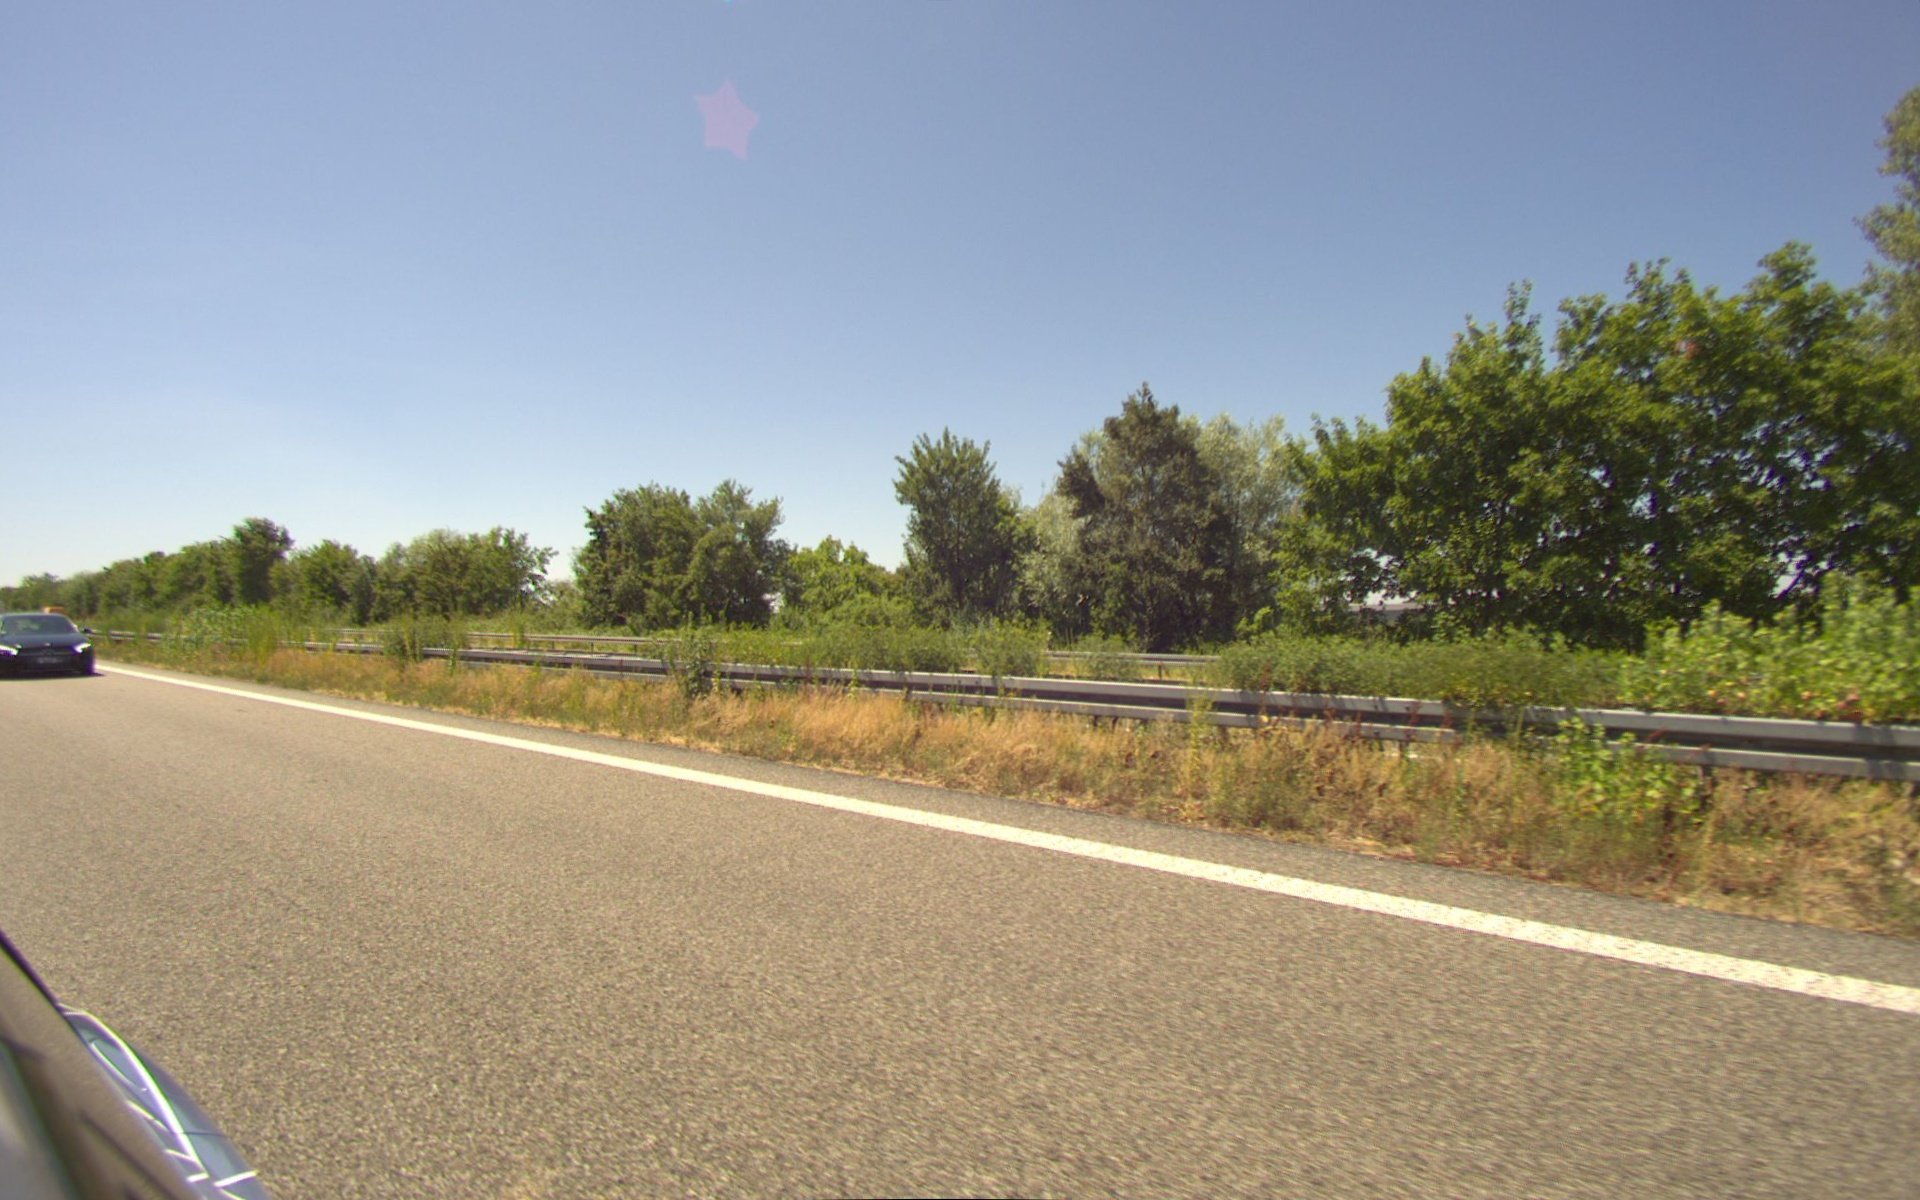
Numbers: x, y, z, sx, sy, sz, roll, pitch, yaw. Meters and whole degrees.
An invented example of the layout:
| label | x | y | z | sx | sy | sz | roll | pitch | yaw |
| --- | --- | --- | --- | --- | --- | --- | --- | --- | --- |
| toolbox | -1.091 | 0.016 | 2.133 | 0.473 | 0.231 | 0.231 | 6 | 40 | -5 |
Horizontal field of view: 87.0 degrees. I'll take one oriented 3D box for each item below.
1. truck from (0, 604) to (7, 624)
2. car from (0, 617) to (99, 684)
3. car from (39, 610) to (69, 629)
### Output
| label | x | y | z | sx | sy | sz | roll | pitch | yaw |
| --- | --- | --- | --- | --- | --- | --- | --- | --- | --- |
| truck | -172.480 | 2.580 | 179.409 | 10.684 | 3.464 | 4.068 | -1 | 0 | 41 |
| car | -21.503 | 1.108 | 23.460 | 4.050 | 1.422 | 1.773 | -1 | -1 | 41 |
| car | -116.424 | 2.479 | 130.016 | 4.951 | 2.455 | 2.160 | -1 | -2 | 39 |
